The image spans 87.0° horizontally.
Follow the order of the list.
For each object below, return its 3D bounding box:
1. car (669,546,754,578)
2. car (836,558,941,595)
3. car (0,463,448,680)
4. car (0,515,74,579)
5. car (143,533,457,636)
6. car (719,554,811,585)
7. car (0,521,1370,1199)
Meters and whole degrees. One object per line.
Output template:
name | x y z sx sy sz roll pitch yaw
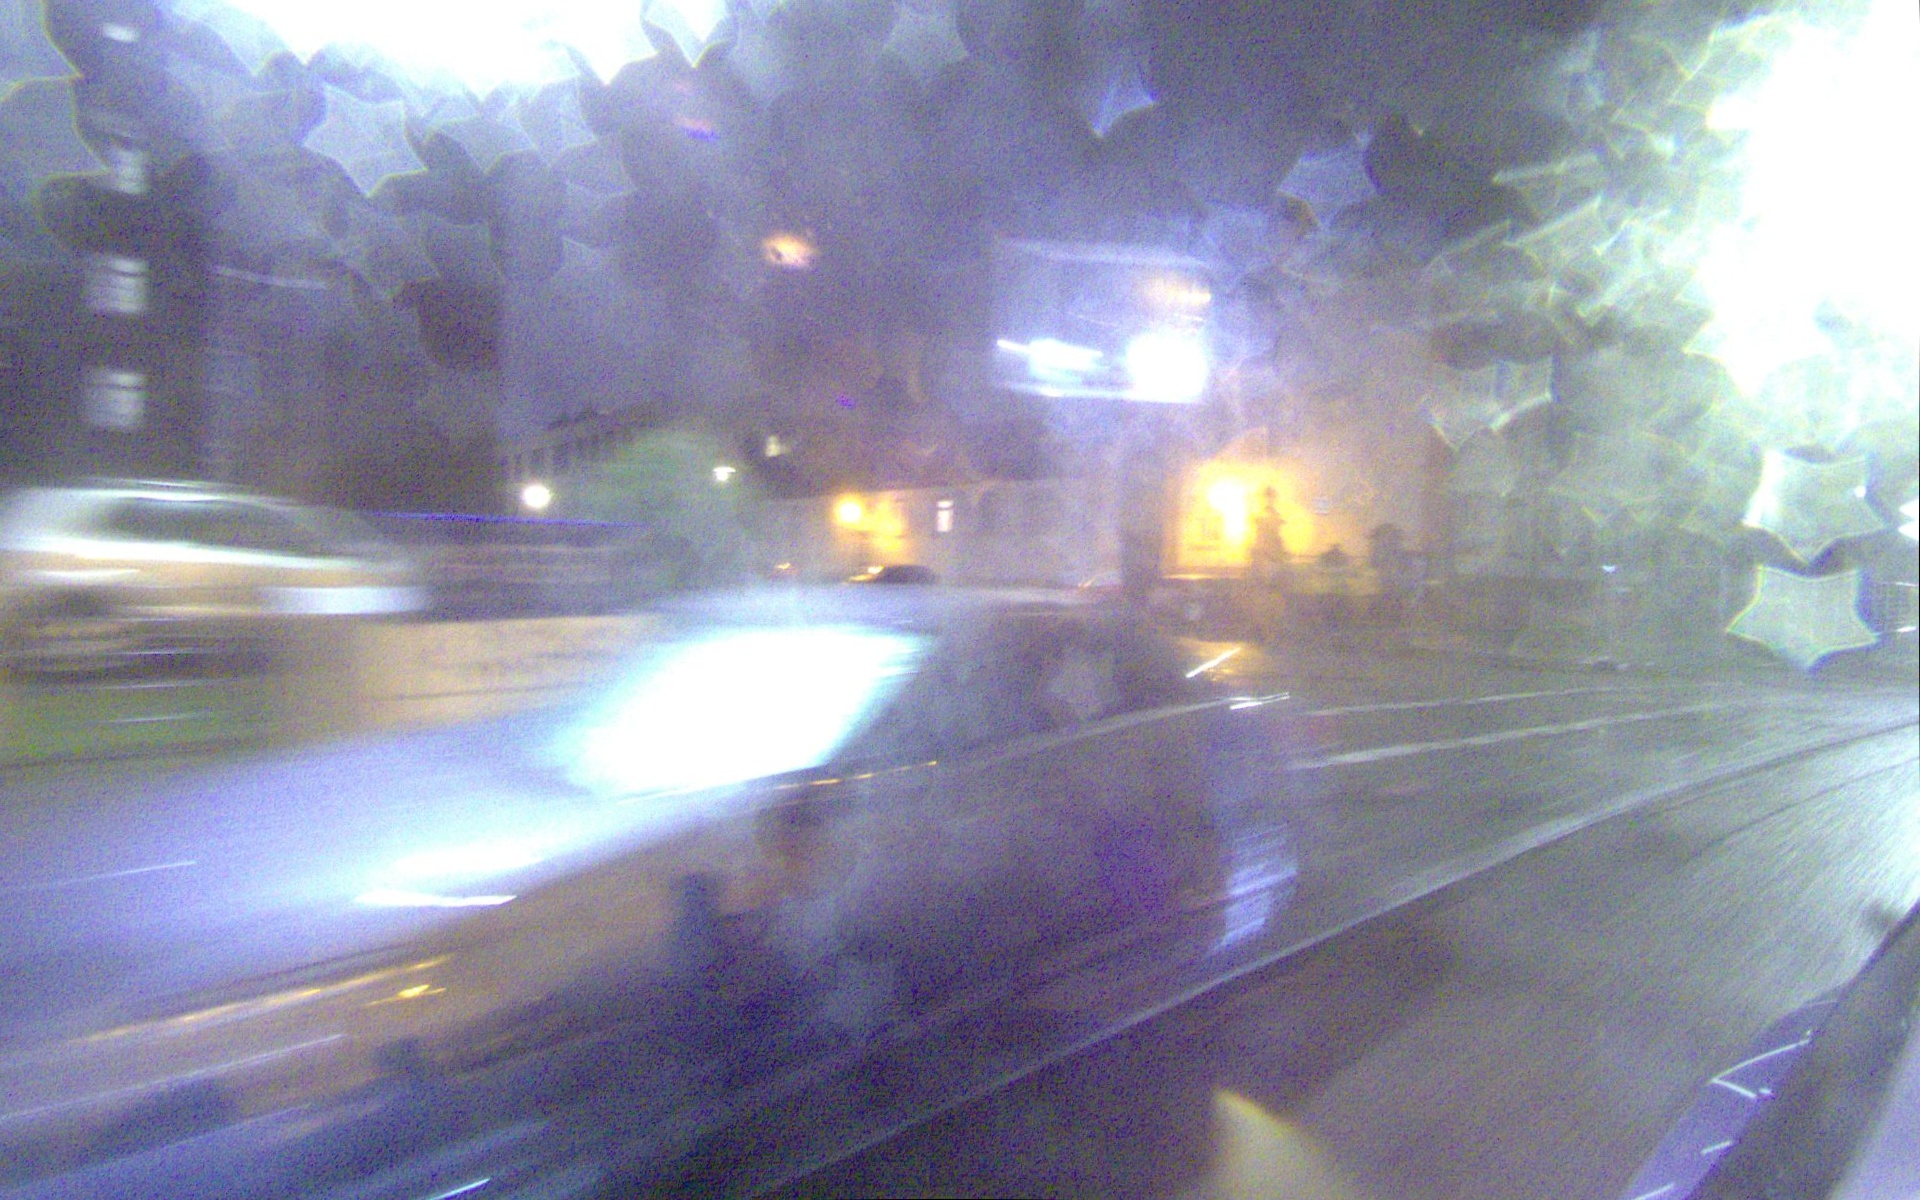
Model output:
car | -14.500 -2.219 59.254 4.500 1.708 1.754 0 3 -37
car | -3.161 -1.055 45.405 4.502 1.527 1.753 0 3 -39
car | -7.365 -0.242 9.506 4.185 1.716 1.907 2 1 -42
car | -25.430 -1.451 27.745 1.640 1.636 3.995 0 2 -40
car | -10.851 -0.245 16.789 4.184 1.486 1.829 0 1 -41
car | -10.425 -1.633 54.264 4.499 1.527 1.754 0 3 -37
car | -0.496 0.593 3.589 4.711 1.466 1.792 0 4 -44
